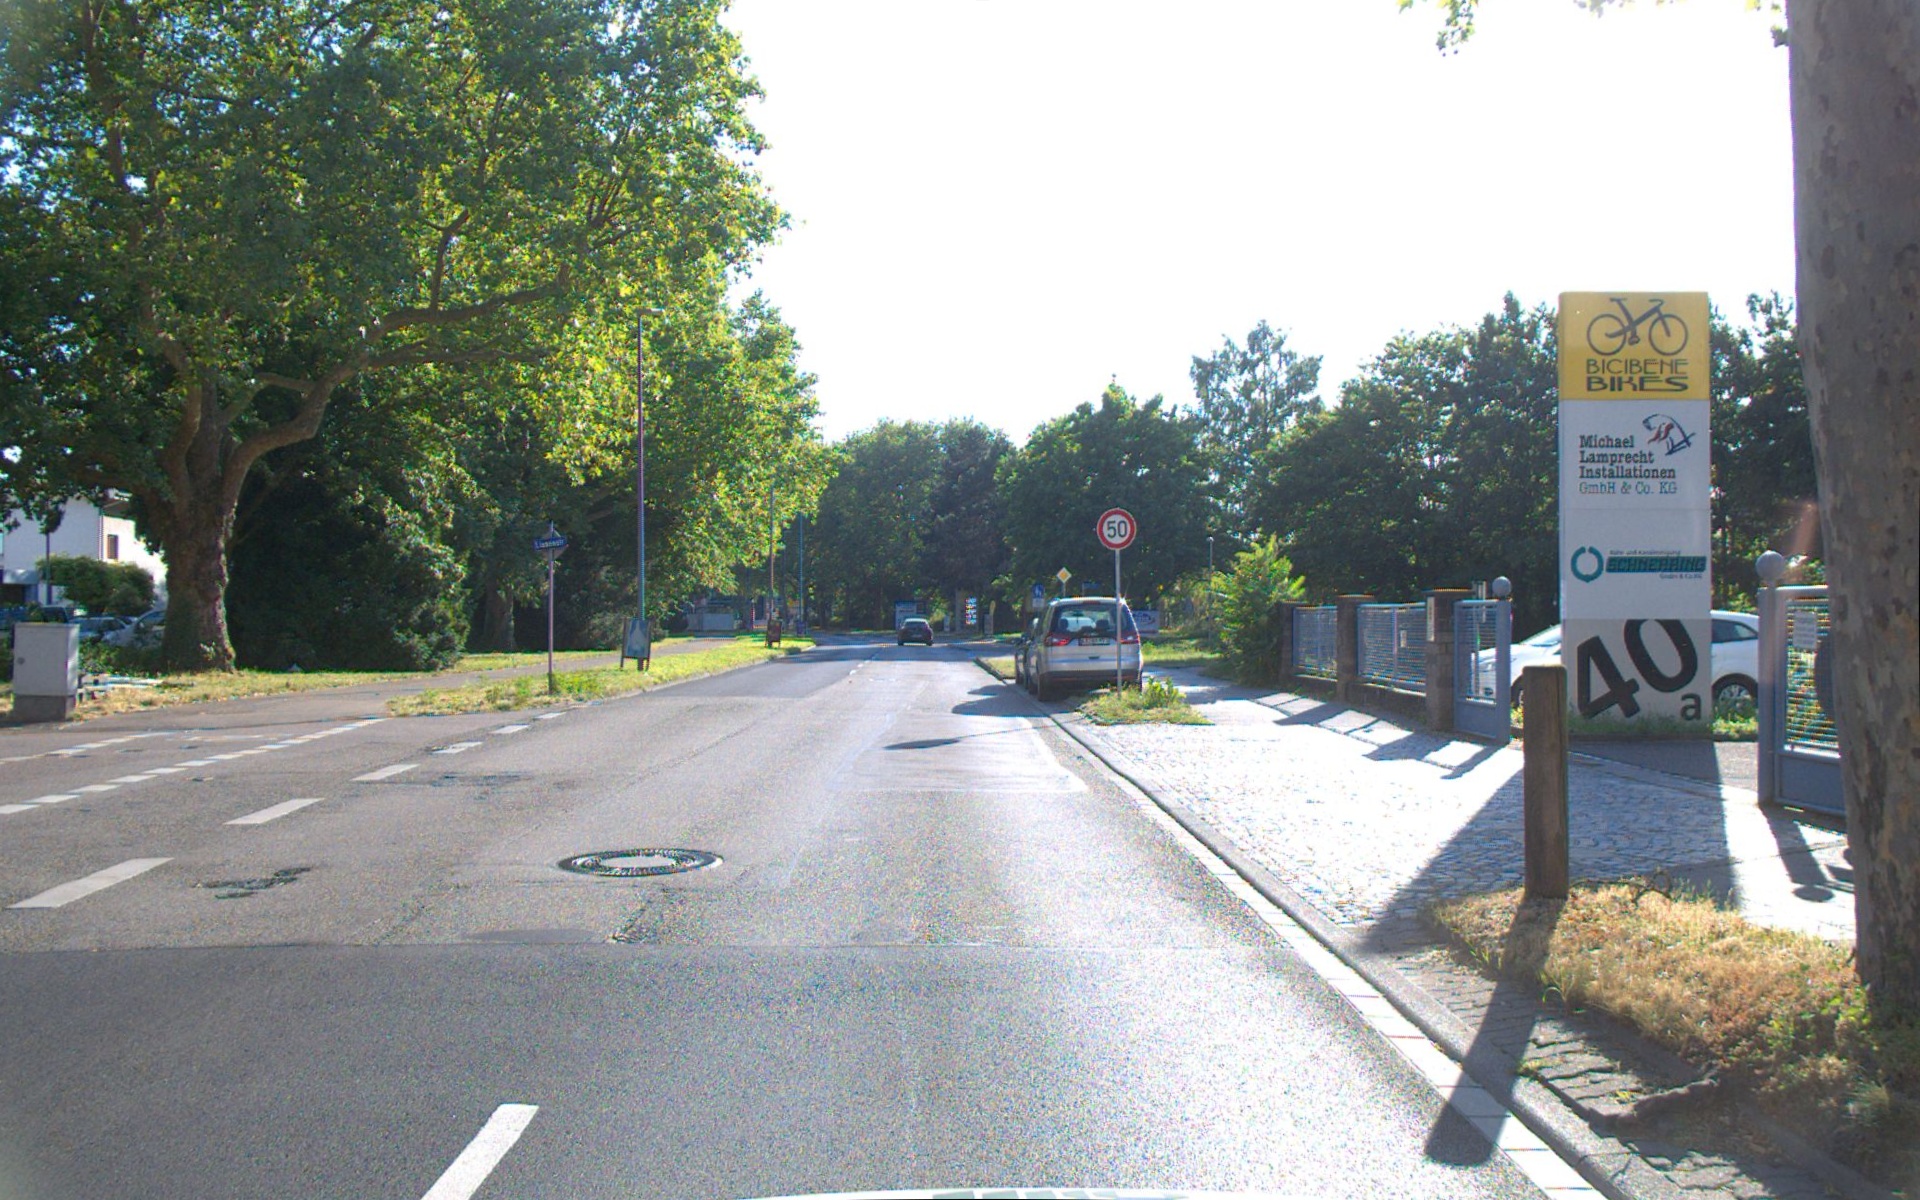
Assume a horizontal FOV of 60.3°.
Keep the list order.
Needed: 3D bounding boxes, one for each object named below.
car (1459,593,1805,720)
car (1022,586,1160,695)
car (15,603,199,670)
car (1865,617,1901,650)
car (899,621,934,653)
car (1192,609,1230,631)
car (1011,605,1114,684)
[{"bbox_3d":[8.951,0.736,22.277,3.905,1.587,1.841,-1,-1,0],"label":"car"},{"bbox_3d":[2.268,0.712,29.921,1.953,1.790,4.915,-1,-1,-2],"label":"car"},{"bbox_3d":[-22.448,0.958,43.633,3.907,1.713,1.726,0,-1,-3],"label":"car"},{"bbox_3d":[51.097,1.848,91.577,1.665,1.718,3.858,2,0,29],"label":"car"},{"bbox_3d":[-2.336,1.972,89.457,1.802,1.633,3.861,-1,0,-1],"label":"car"},{"bbox_3d":[20.702,1.639,136.570,1.779,1.758,4.390,3,-1,-8],"label":"car"},{"bbox_3d":[2.112,0.904,35.163,1.746,1.542,4.687,-1,-1,-2],"label":"car"}]
